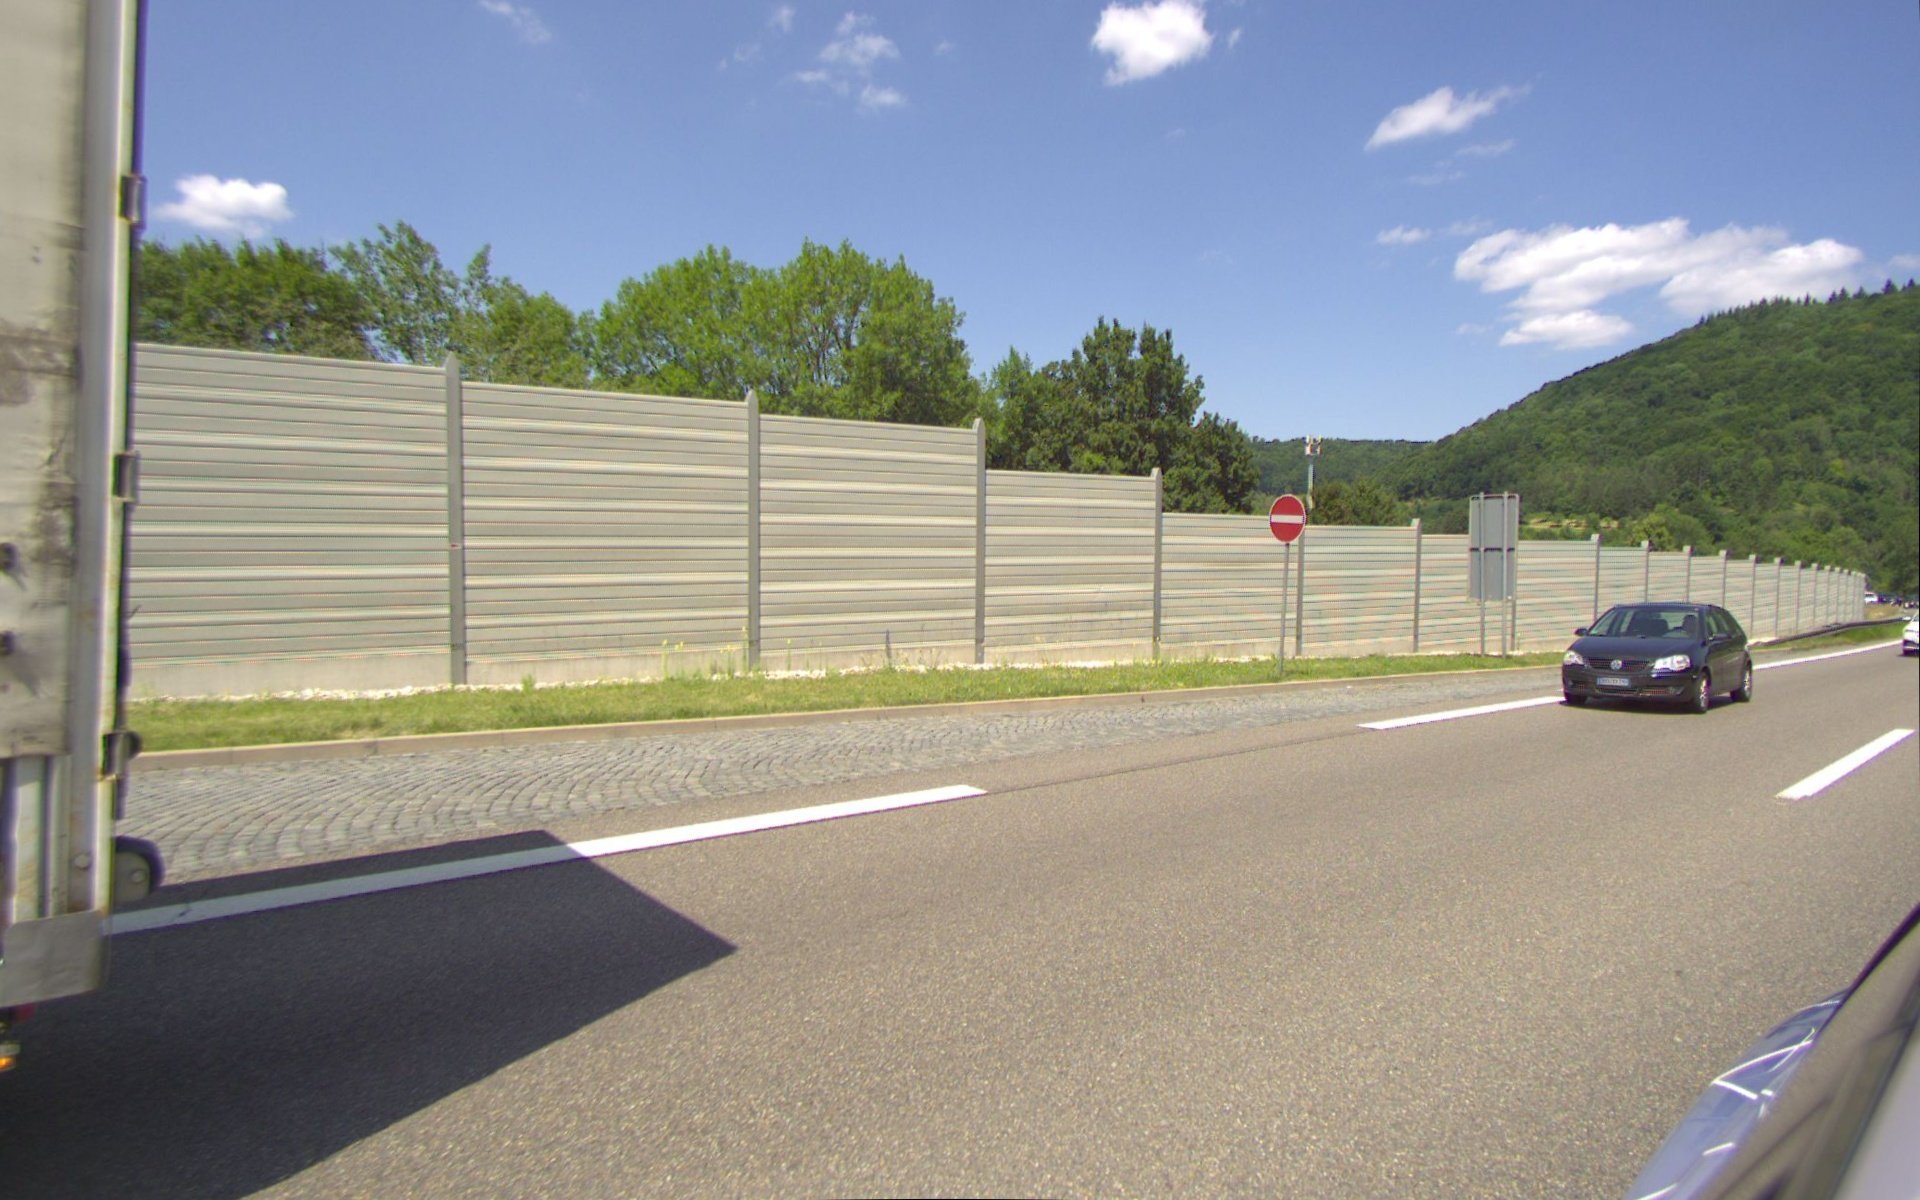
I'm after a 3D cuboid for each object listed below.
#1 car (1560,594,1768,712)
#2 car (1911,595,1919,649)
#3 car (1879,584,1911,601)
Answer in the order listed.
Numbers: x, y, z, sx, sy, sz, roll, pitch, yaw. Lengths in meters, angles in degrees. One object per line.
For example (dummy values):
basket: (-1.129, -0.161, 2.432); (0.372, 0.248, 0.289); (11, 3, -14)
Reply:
car: (10.117, 0.643, 14.454); (3.774, 1.440, 1.693); (0, 1, -43)
car: (28.302, 0.587, 28.475); (3.658, 1.448, 1.905); (-1, 1, -41)
car: (117.207, -0.946, 126.928); (1.982, 2.039, 3.959); (-1, 0, 29)
